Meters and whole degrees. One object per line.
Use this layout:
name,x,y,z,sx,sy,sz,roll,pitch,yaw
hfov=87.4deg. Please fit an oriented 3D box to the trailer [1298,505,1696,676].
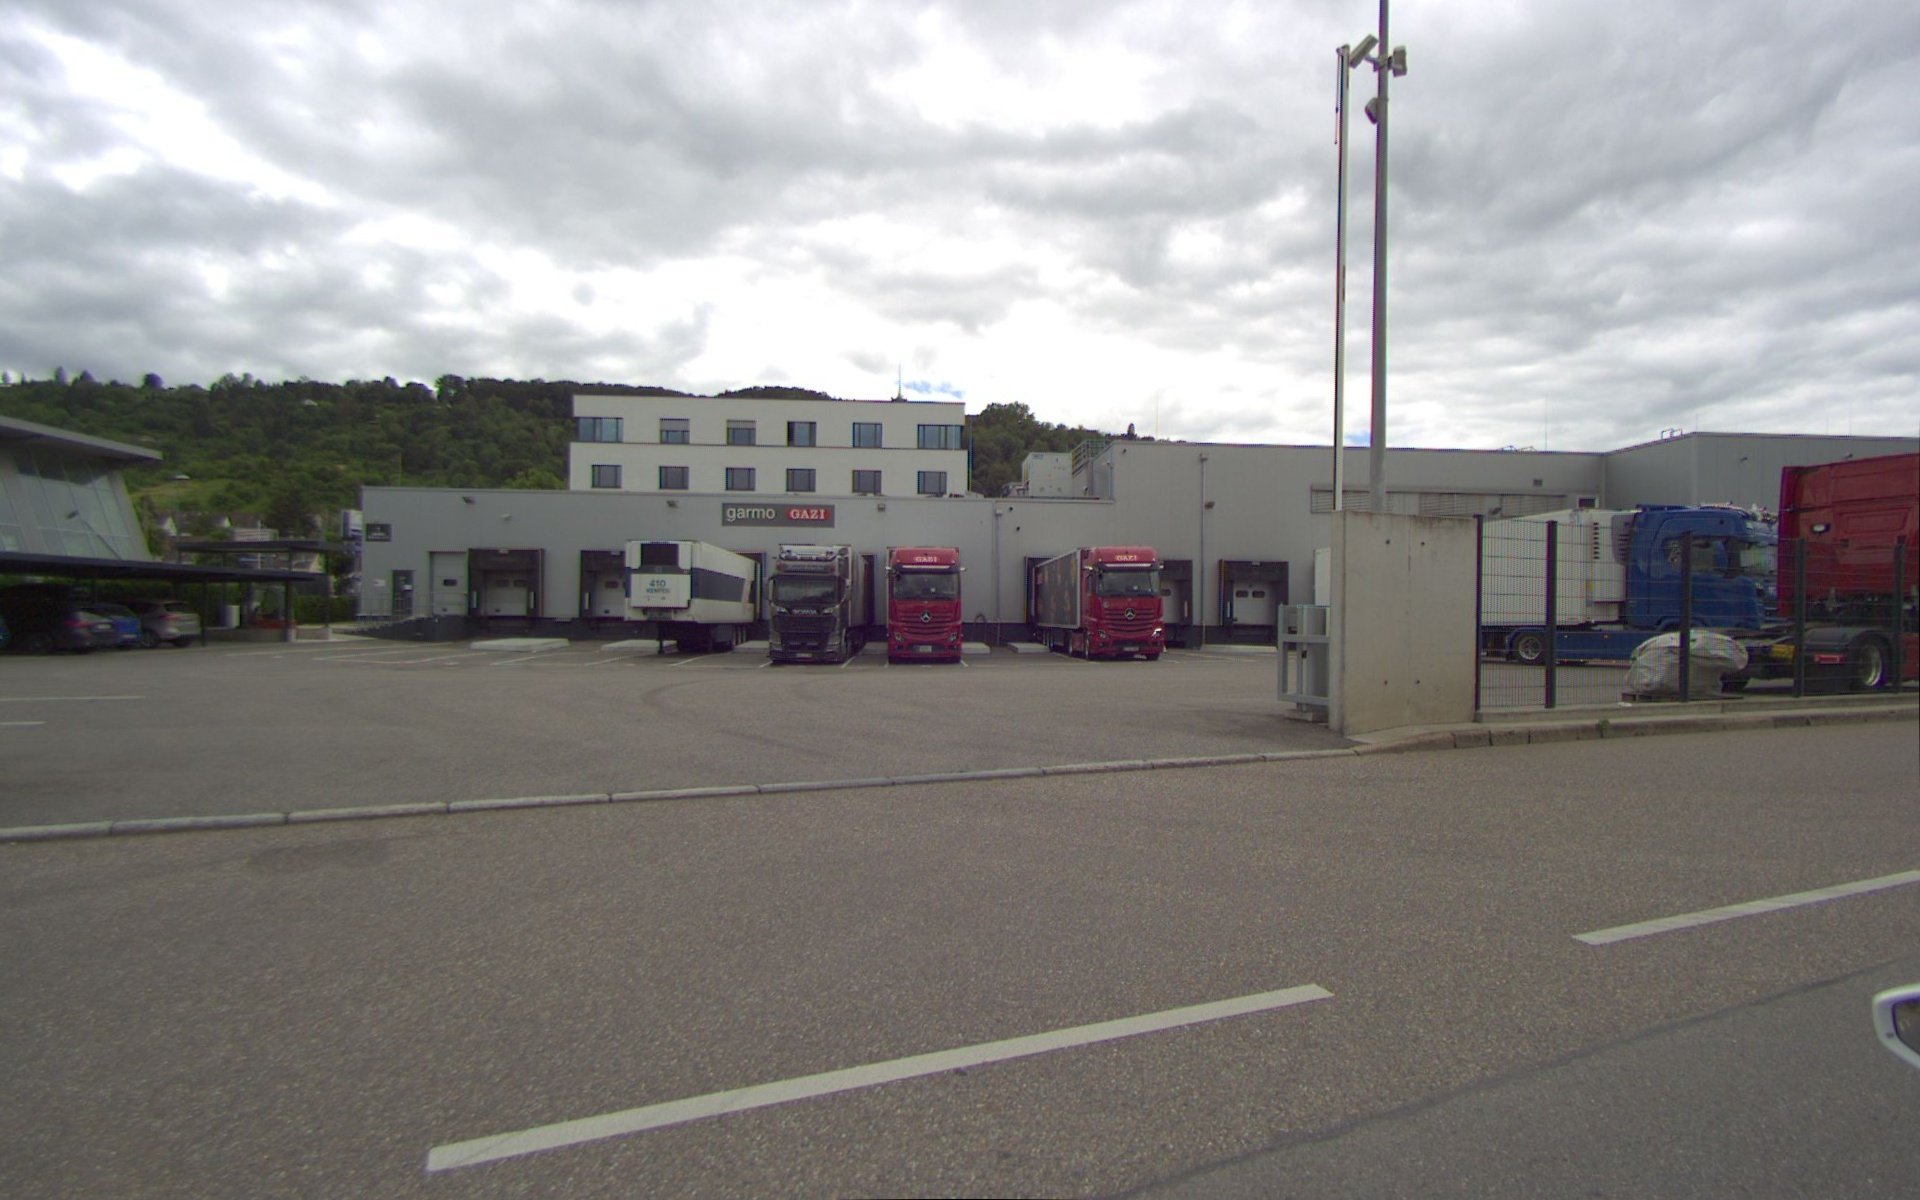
trailer,15.920,-0.138,32.189,2.983,4.239,13.989,1,-1,-12

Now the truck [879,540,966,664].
truck,-1.375,0.126,35.668,2.748,3.980,5.923,1,-1,-3

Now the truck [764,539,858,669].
truck,-4.995,0.175,34.328,2.748,4.093,4.163,1,-1,-3

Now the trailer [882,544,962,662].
trailer,-1.704,0.202,41.175,2.739,4.131,10.991,1,-1,-4

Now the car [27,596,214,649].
car,-27.037,0.725,32.510,4.171,1.579,1.964,1,-1,-10

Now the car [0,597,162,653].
car,-26.757,0.731,29.946,4.171,1.579,1.964,1,-1,-10

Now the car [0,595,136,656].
car,-25.526,0.678,27.455,4.171,1.579,1.964,1,-1,-10

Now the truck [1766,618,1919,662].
truck,36.441,1.593,41.491,2.185,1.674,4.927,1,-1,-4

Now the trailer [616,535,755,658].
trailer,-10.570,-0.012,40.141,3.032,4.131,11.404,1,-1,-4

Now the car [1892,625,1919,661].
car,43.298,1.915,43.526,1.962,1.572,3.998,1,-1,-4

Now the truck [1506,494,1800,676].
truck,17.464,-0.298,25.587,2.905,4.074,5.554,2,-1,-38

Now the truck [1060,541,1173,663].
truck,5.476,0.135,36.137,2.748,3.980,5.923,1,-1,-3

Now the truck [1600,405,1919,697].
truck,14.357,-0.594,16.711,6.843,4.074,2.915,1,-1,-23

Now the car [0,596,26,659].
car,-26.032,0.642,24.607,4.171,1.579,1.964,1,-1,-10

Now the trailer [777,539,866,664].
trailer,-5.398,0.167,41.009,2.739,4.358,11.177,1,-1,-4

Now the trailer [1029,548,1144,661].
trailer,5.075,0.284,42.740,2.739,4.131,10.991,1,-1,-4

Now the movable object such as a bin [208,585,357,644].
movable object such as a bin,-27.562,0.592,41.012,4.517,2.255,2.077,1,-1,-10
